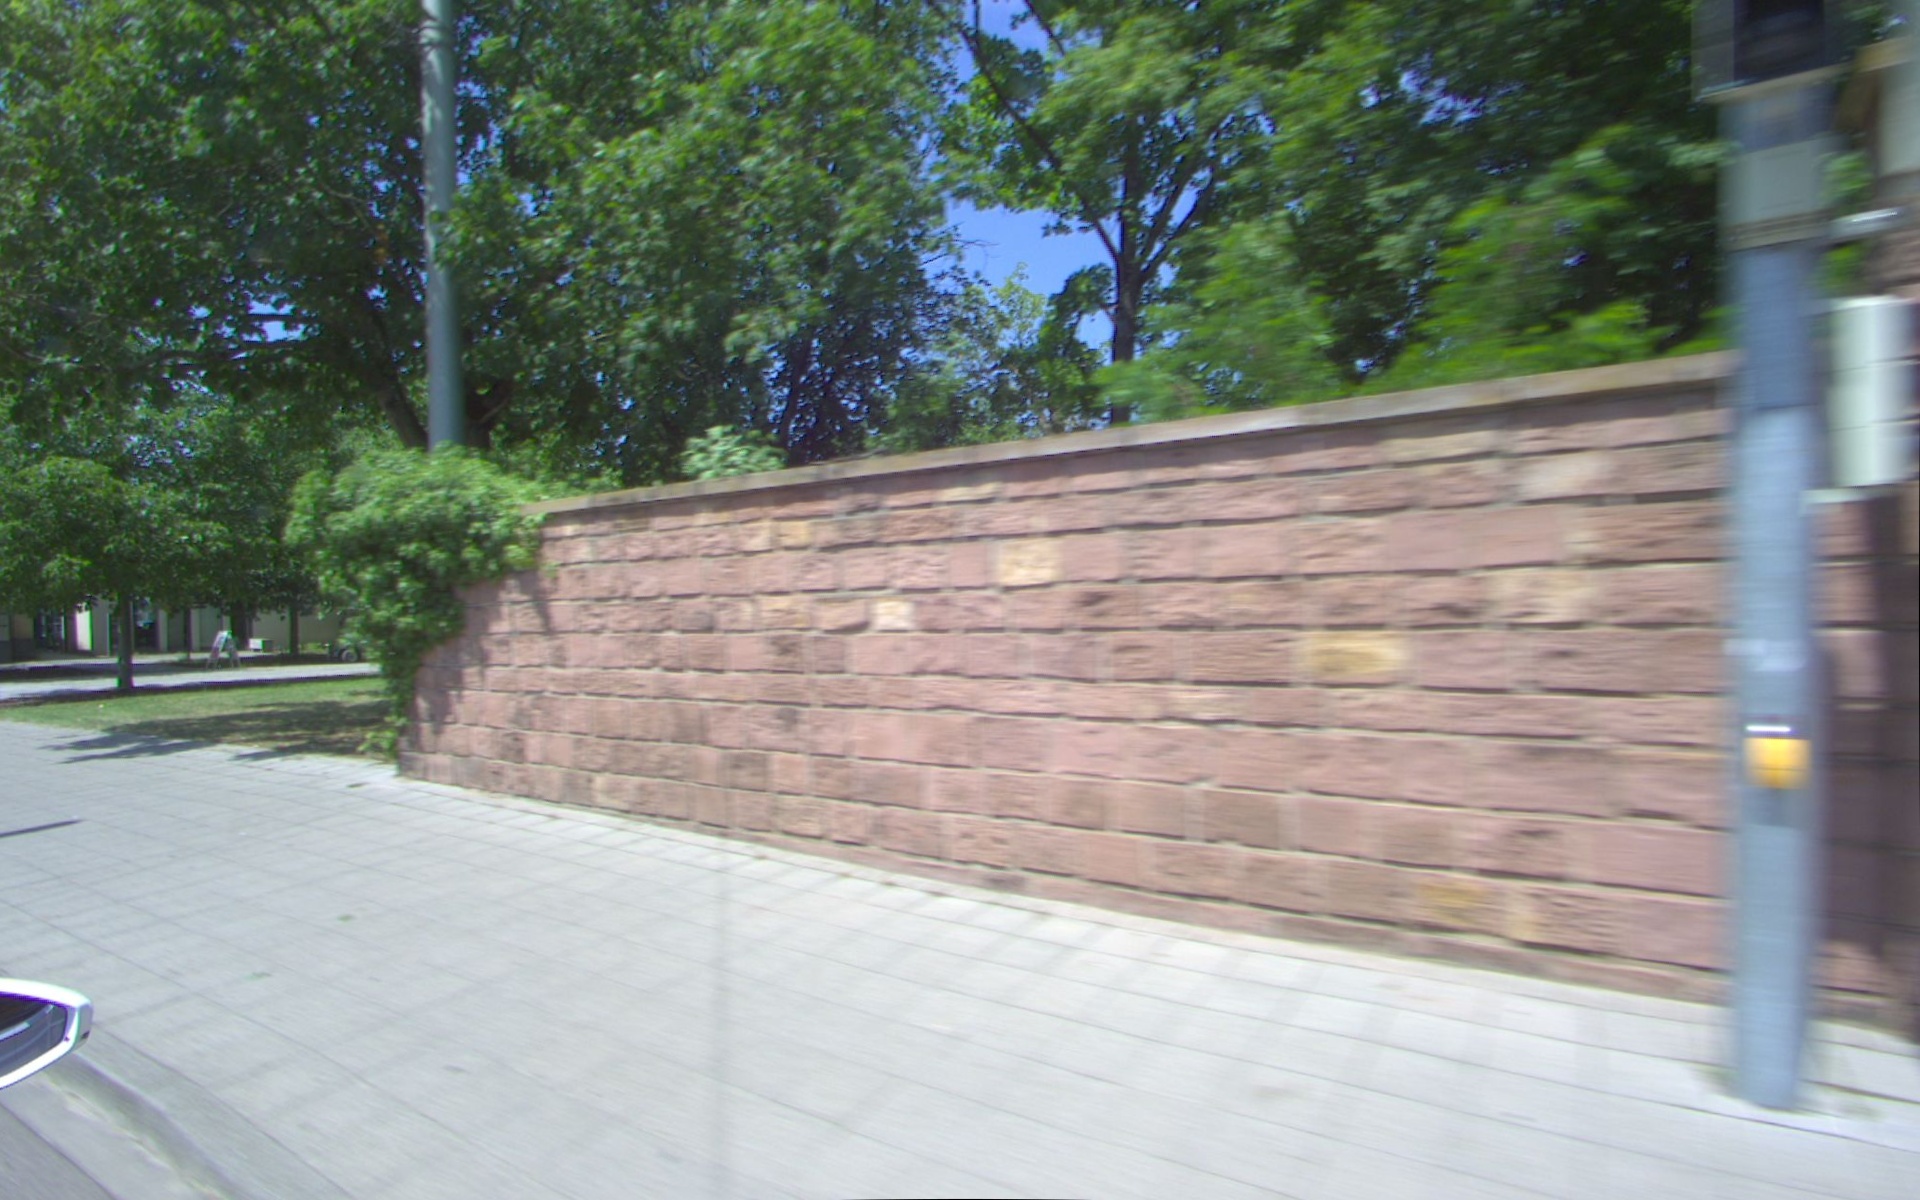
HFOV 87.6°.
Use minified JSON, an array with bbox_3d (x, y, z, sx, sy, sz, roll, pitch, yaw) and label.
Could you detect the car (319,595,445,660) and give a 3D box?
[{"bbox_3d":[-19.223,0.891,33.420,1.444,2.040,3.322,-2,0,33],"label":"car"}]
